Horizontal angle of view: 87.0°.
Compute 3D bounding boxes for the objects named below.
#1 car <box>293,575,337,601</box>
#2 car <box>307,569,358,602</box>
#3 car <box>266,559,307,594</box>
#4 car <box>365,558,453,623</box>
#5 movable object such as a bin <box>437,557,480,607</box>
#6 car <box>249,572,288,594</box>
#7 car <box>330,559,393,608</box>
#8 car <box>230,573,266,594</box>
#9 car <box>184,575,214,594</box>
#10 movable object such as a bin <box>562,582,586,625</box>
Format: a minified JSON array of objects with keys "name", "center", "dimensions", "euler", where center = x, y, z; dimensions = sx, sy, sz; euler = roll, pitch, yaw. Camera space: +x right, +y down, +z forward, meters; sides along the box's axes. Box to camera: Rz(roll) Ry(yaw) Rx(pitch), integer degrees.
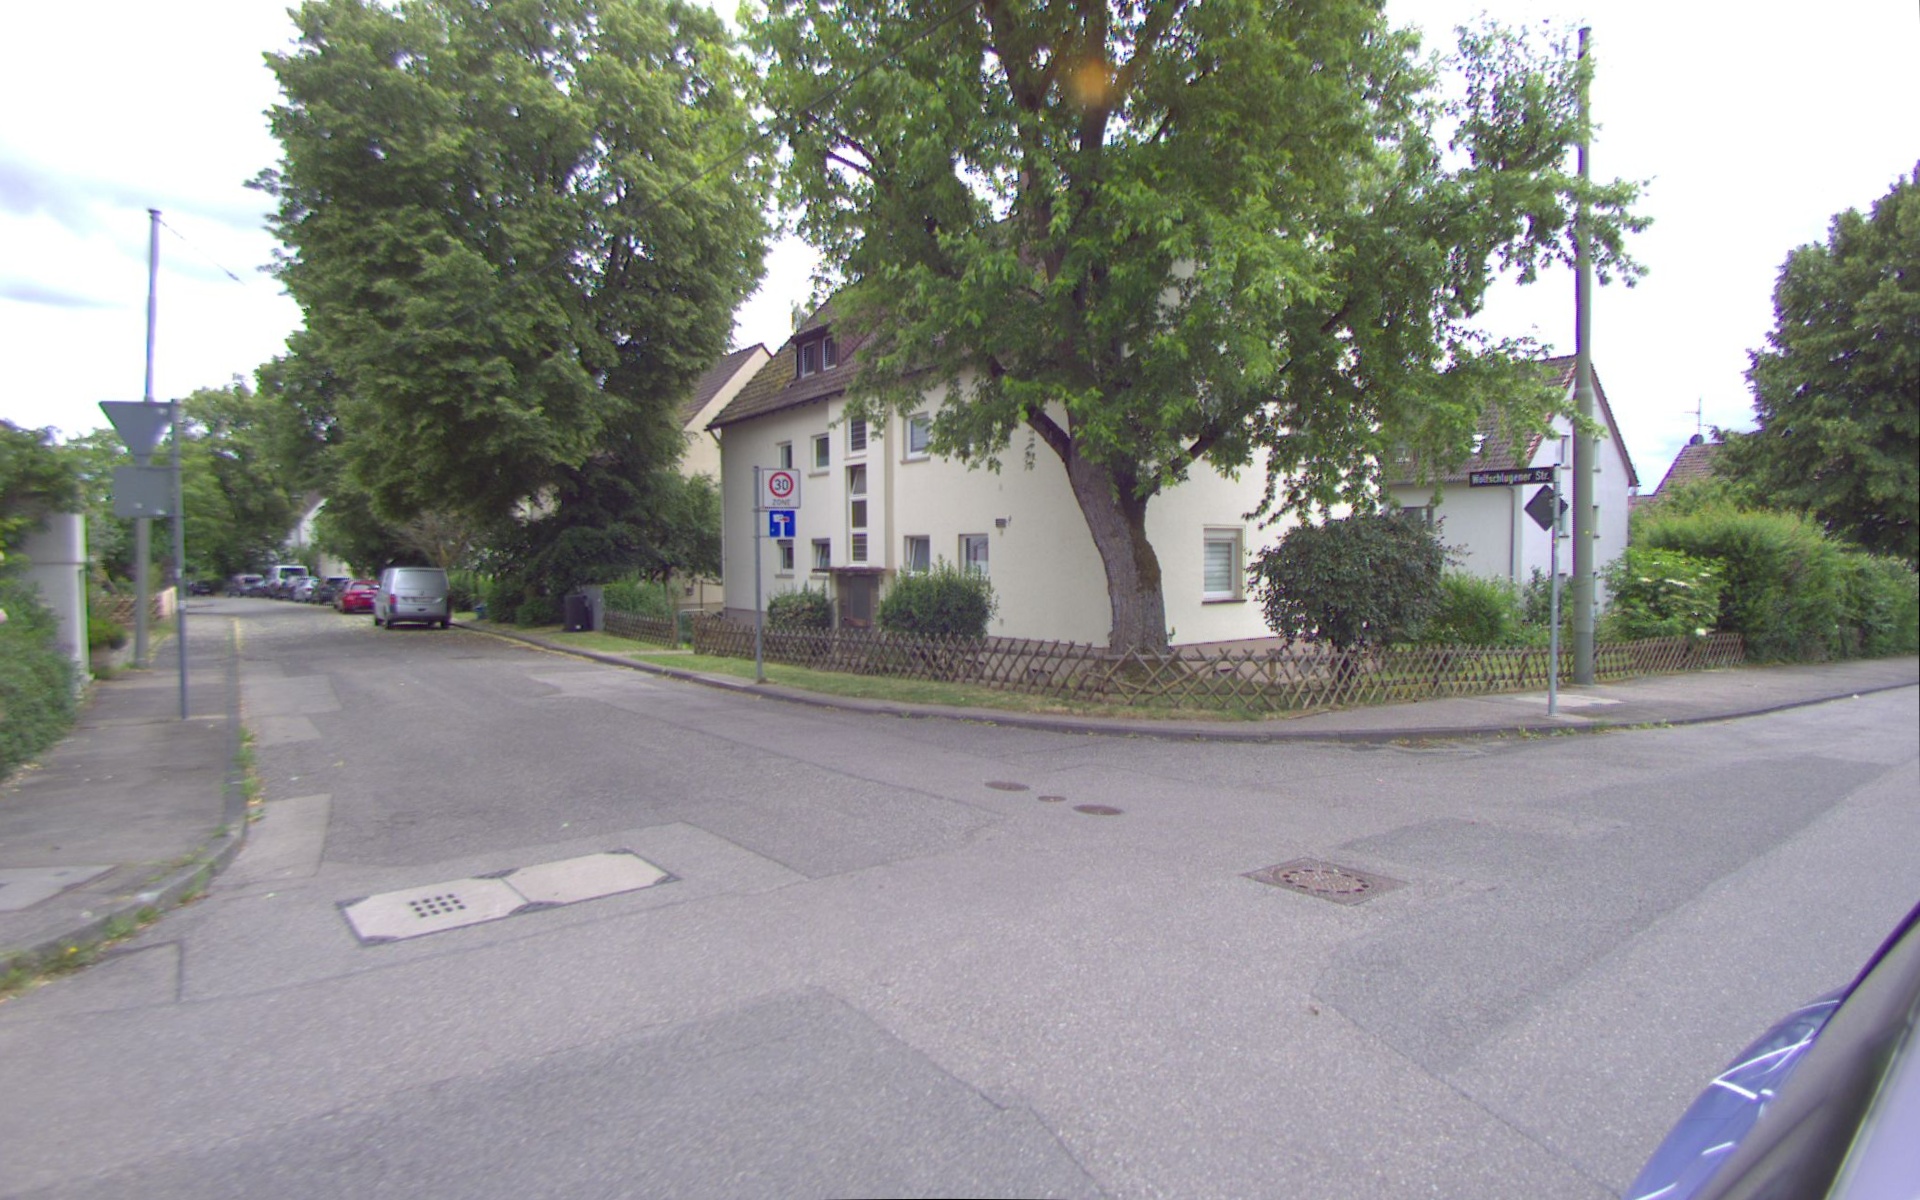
[{"name":"car","center":[-40.216,-0.776,63.062],"dimensions":[1.963,1.571,3.998],"euler":[0,1,-38]},{"name":"car","center":[-36.173,-0.846,58.304],"dimensions":[1.964,1.816,3.996],"euler":[0,1,-39]},{"name":"car","center":[-47.710,-1.662,71.655],"dimensions":[1.965,2.439,3.994],"euler":[0,1,-41]},{"name":"car","center":[-17.920,-0.344,32.820],"dimensions":[1.963,1.974,3.999],"euler":[0,1,-37]},{"name":"movable object such as a bin","center":[-20.179,-0.734,40.709],"dimensions":[1.350,1.955,1.201],"euler":[0,1,-38]},{"name":"car","center":[-52.143,-1.268,76.290],"dimensions":[1.965,1.571,3.994],"euler":[0,1,-41]},{"name":"car","center":[-26.608,-0.743,44.938],"dimensions":[1.963,2.039,3.999],"euler":[0,1,-37]},{"name":"car","center":[-56.850,-1.315,80.798],"dimensions":[1.965,1.571,3.994],"euler":[0,1,-41]},{"name":"car","center":[-65.811,-1.340,87.497],"dimensions":[1.846,1.571,3.994],"euler":[0,1,-41]},{"name":"movable object such as a bin","center":[-10.643,0.087,27.893],"dimensions":[0.512,1.171,0.428],"euler":[0,1,-41]}]
